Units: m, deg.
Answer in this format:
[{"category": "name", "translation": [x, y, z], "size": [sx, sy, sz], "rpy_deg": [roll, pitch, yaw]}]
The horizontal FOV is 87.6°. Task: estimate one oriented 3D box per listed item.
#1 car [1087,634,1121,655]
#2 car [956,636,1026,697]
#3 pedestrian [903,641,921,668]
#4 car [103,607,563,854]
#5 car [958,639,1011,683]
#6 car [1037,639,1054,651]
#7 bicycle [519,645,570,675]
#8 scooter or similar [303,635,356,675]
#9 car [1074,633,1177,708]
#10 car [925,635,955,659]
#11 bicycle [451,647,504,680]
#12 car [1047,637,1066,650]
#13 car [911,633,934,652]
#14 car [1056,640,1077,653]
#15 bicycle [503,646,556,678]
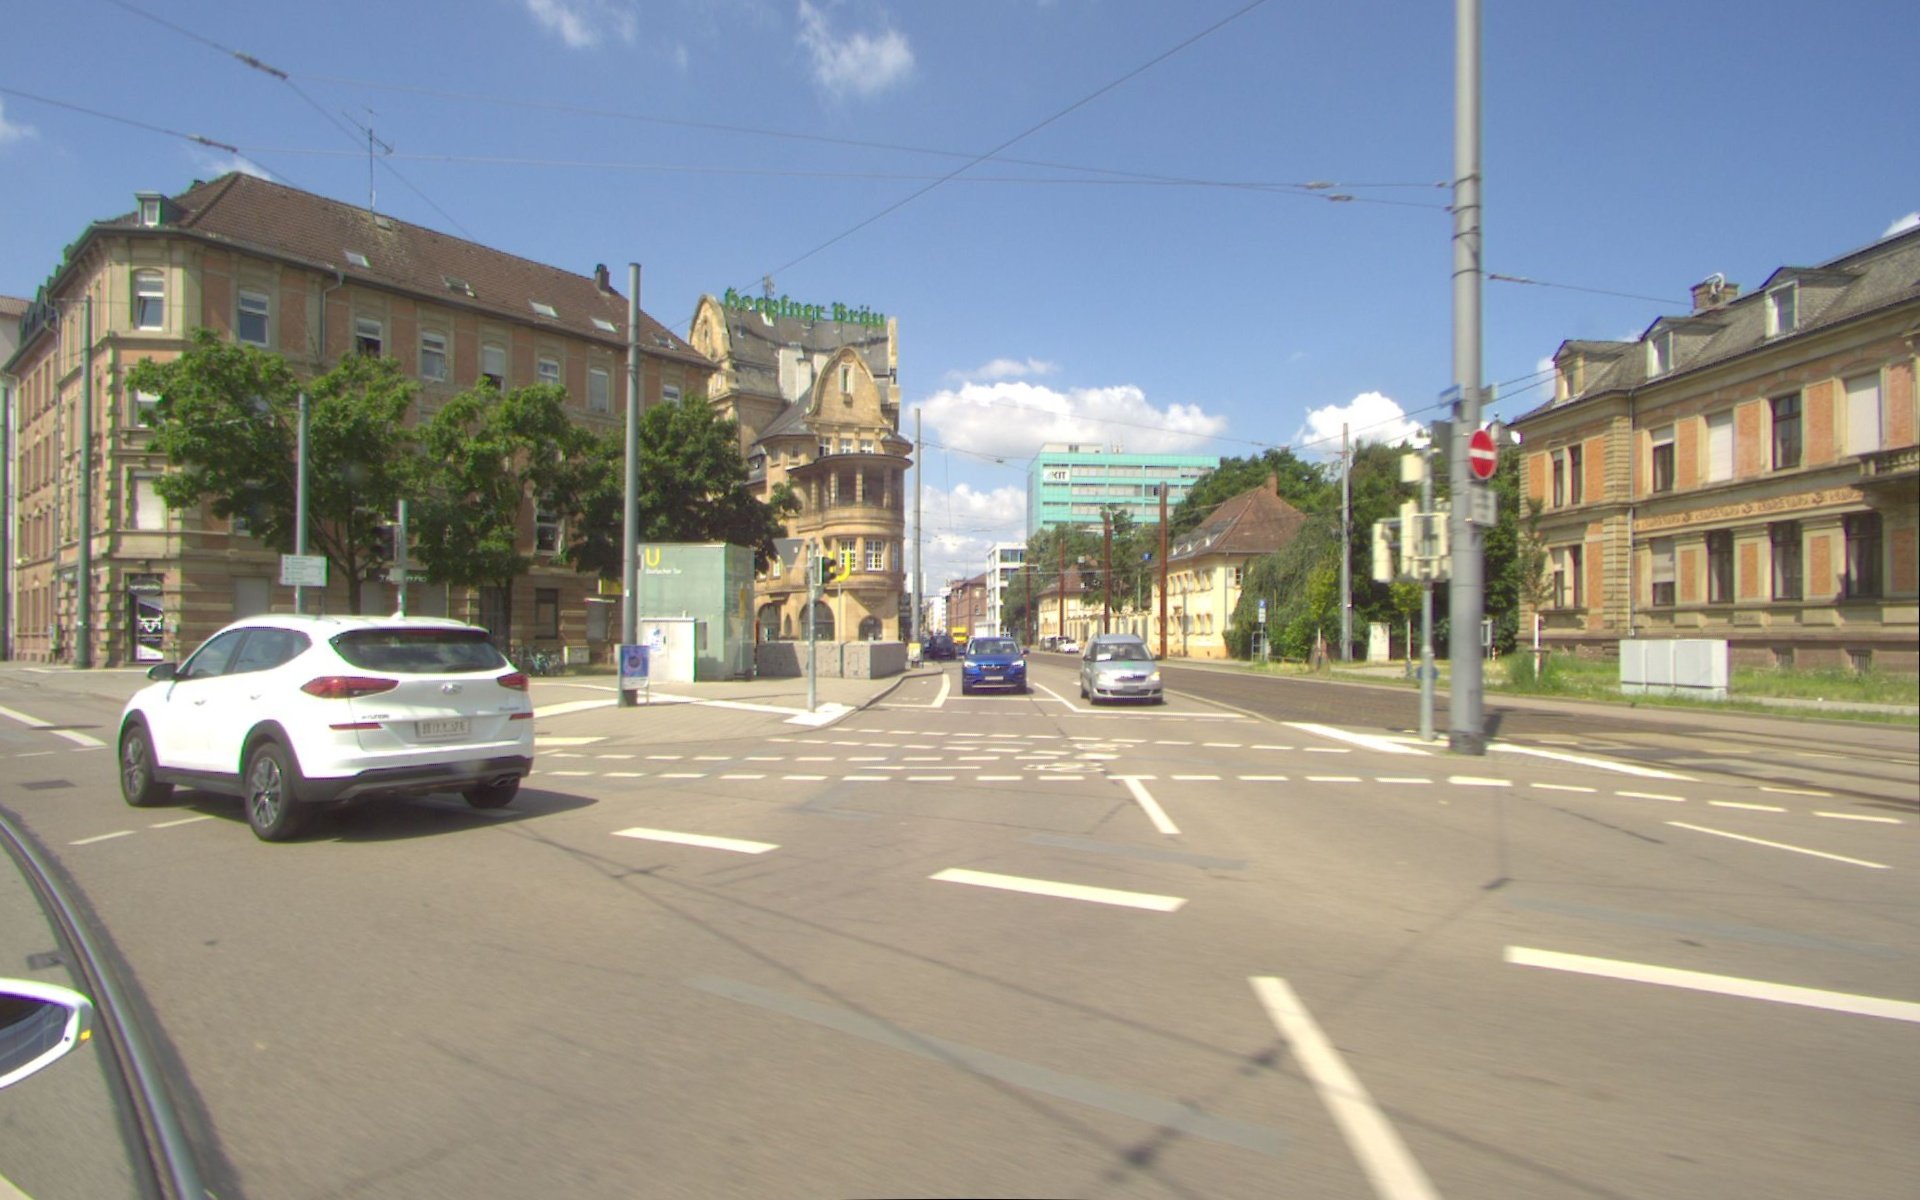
[{"category": "car", "translation": [12.684, 3.943, 88.455], "size": [1.962, 1.794, 4.000], "rpy_deg": [0, -1, -7]}, {"category": "car", "translation": [0.935, 1.876, 29.136], "size": [1.838, 1.570, 4.429], "rpy_deg": [-2, -2, 3]}, {"category": "pedestrian", "translation": [-2.825, 3.211, 58.838], "size": [0.880, 1.579, 0.864], "rpy_deg": [0, -1, 11]}, {"category": "car", "translation": [-5.492, 0.922, 8.635], "size": [4.123, 1.655, 1.848], "rpy_deg": [-1, -2, 34]}, {"category": "car", "translation": [0.999, 2.336, 38.890], "size": [1.901, 1.585, 3.997], "rpy_deg": [0, -2, 4]}, {"category": "car", "translation": [10.285, 5.419, 121.097], "size": [1.649, 1.404, 3.634], "rpy_deg": [0, -2, -2]}, {"category": "bicycle", "translation": [-15.448, 2.214, 37.199], "size": [2.546, 1.067, 0.787], "rpy_deg": [-2, -1, 43]}, {"category": "scooter or similar", "translation": [-19.956, 1.727, 31.696], "size": [1.371, 1.219, 0.945], "rpy_deg": [-2, -1, 34]}, {"category": "car", "translation": [3.840, 1.604, 23.875], "size": [1.837, 1.608, 4.429], "rpy_deg": [0, -2, 2]}, {"category": "car", "translation": [-1.583, 3.662, 77.826], "size": [1.962, 1.794, 4.000], "rpy_deg": [0, -2, -7]}, {"category": "bicycle", "translation": [-16.851, 2.189, 34.936], "size": [2.546, 1.084, 0.787], "rpy_deg": [-2, -1, 43]}, {"category": "car", "translation": [10.795, 4.824, 112.235], "size": [1.649, 1.405, 3.797], "rpy_deg": [0, -1, -2]}, {"category": "car", "translation": [-3.847, 4.287, 101.377], "size": [1.962, 1.794, 4.000], "rpy_deg": [0, -2, -7]}, {"category": "car", "translation": [11.410, 4.943, 107.257], "size": [1.649, 1.404, 3.798], "rpy_deg": [0, -2, -2]}, {"category": "bicycle", "translation": [-15.565, 2.216, 36.145], "size": [2.546, 1.105, 0.787], "rpy_deg": [-2, -1, 43]}]
